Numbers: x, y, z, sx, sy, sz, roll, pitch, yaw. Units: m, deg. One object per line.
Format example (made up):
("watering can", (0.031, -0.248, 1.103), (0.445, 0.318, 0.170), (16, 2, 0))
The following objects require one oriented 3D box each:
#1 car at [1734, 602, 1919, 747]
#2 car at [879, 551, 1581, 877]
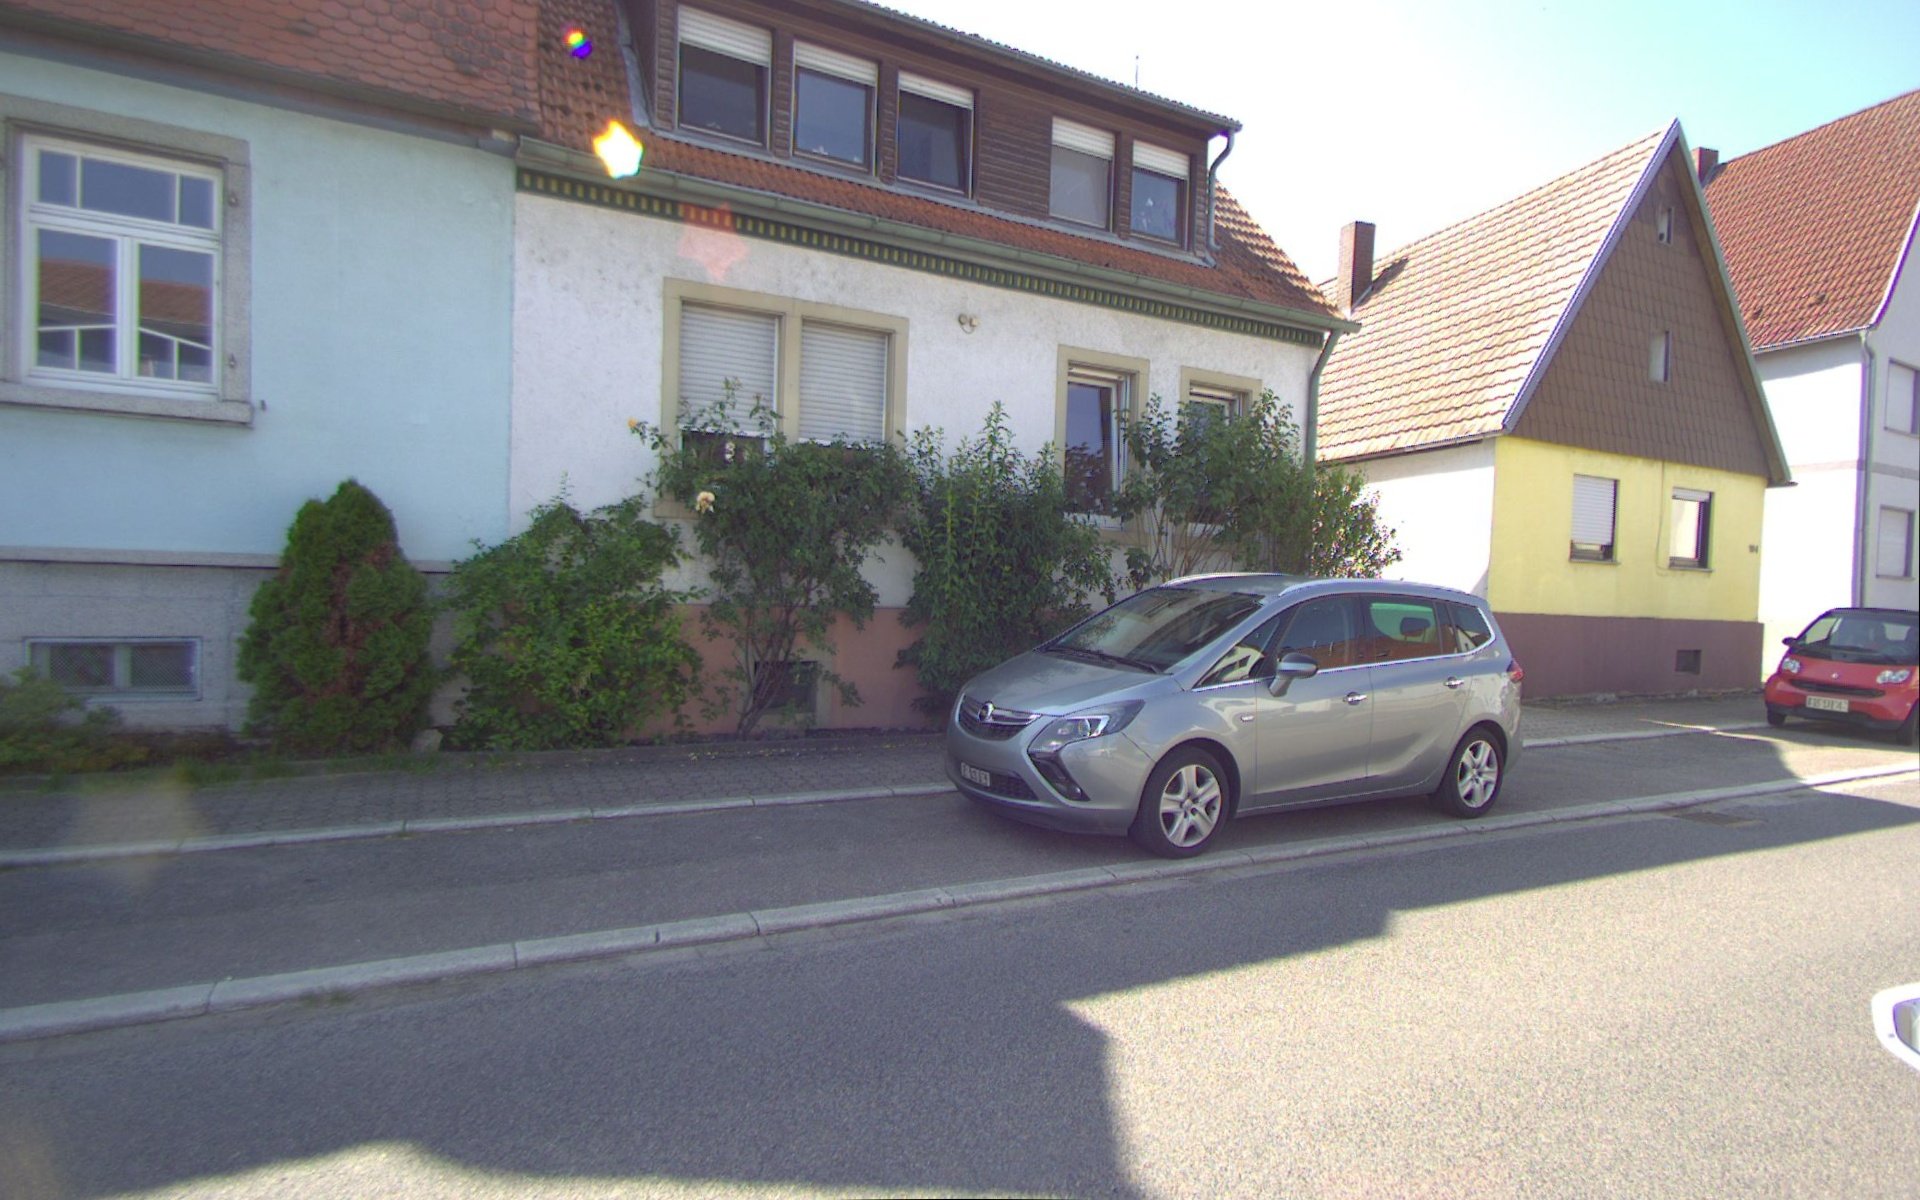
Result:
("car", (11.497, 0.882, 12.728), (2.950, 1.565, 1.546), (2, 2, -28))
("car", (1.939, 0.599, 6.970), (4.604, 1.659, 1.866), (2, 2, -27))
